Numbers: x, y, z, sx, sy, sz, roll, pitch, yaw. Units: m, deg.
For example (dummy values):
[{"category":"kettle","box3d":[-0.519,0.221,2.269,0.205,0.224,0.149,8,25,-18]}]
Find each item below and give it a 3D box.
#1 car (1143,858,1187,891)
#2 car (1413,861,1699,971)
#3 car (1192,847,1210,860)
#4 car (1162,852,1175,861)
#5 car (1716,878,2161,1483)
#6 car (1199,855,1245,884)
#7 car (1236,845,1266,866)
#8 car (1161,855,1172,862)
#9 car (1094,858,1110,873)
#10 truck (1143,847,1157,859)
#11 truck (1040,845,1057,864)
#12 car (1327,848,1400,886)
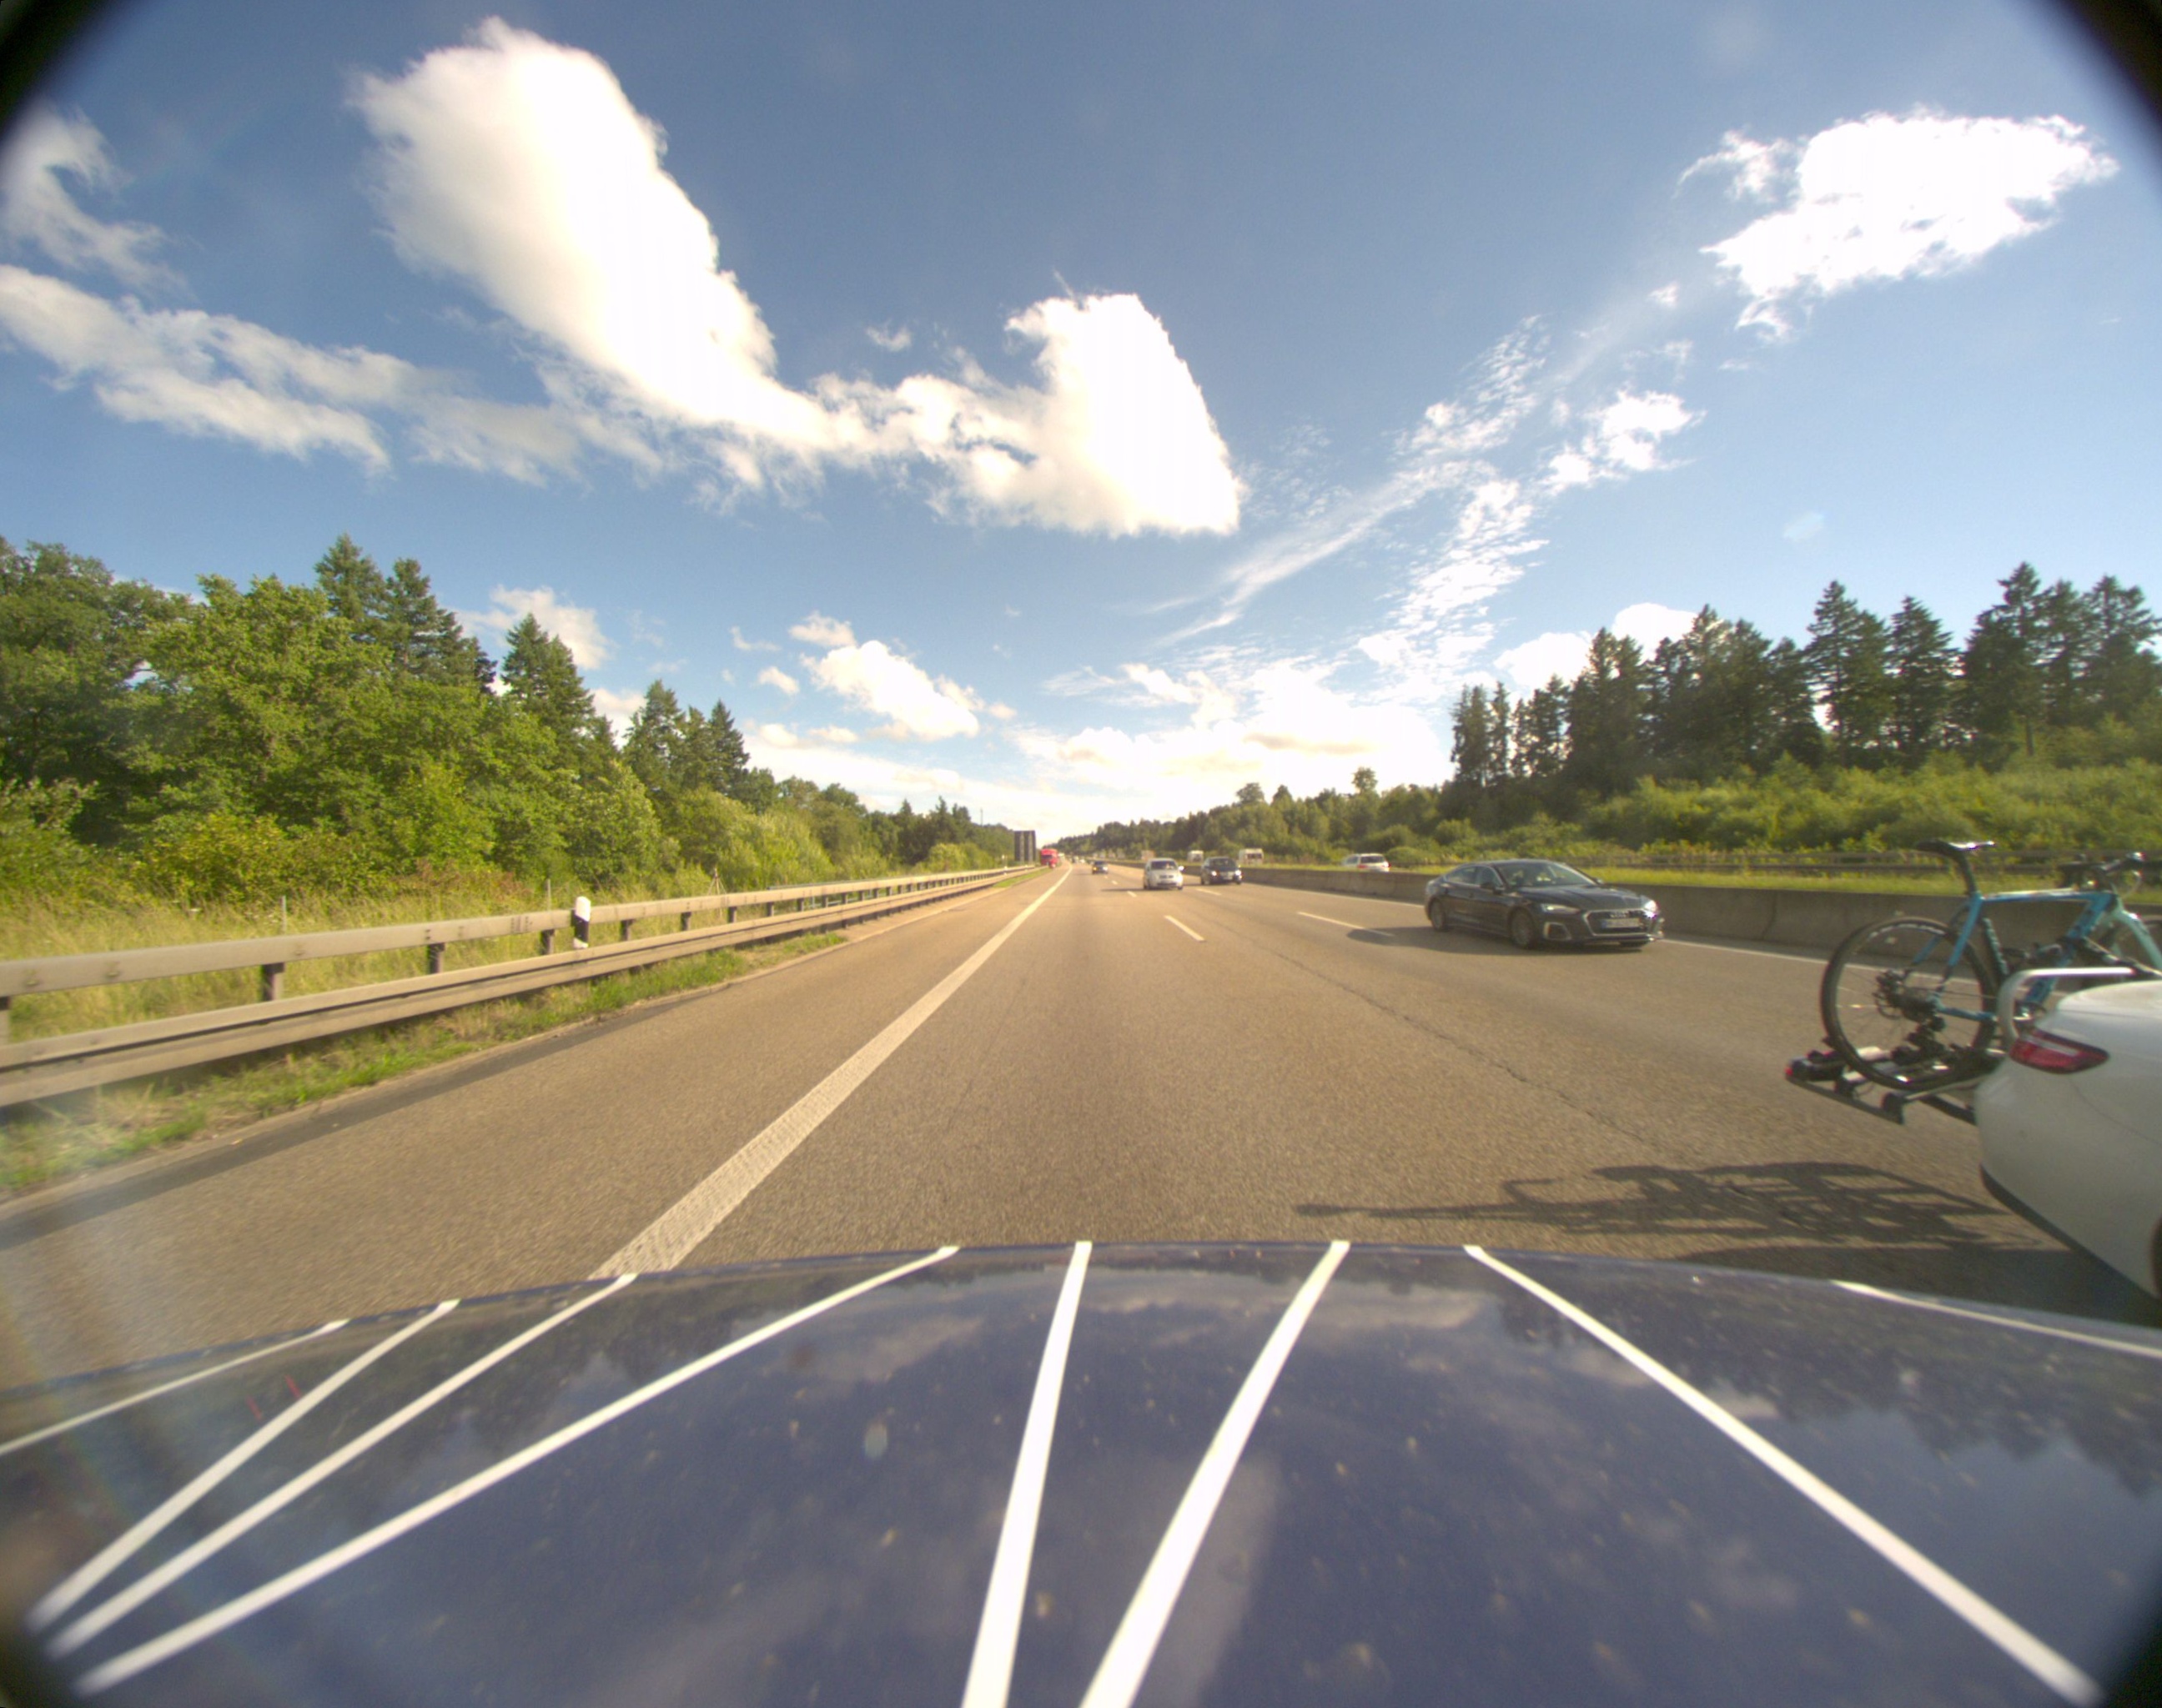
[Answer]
[{"category":"car","box3d":[4.233,0.994,38.875,1.840,1.508,4.333,-2,0,1]},{"category":"car","box3d":[7.564,0.870,12.839,1.860,1.422,4.841,-2,0,1]},{"category":"car","box3d":[24.017,-0.041,152.570,2.550,2.461,5.845,-4,0,1]},{"category":"car","box3d":[19.493,0.536,169.913,2.324,2.024,5.031,-2,0,1]},{"category":"car","box3d":[3.810,0.870,0.491,2.065,1.490,5.736,-2,0,1]},{"category":"car","box3d":[7.970,0.853,43.397,1.840,1.508,4.333,-2,0,1]},{"category":"car","box3d":[19.514,0.146,87.330,2.102,2.262,5.446,-4,0,1]},{"category":"car","box3d":[16.674,0.850,148.111,1.824,1.412,4.000,-2,0,1]},{"category":"car","box3d":[2.325,1.307,86.081,1.742,1.608,4.083,-2,0,1]},{"category":"truck","box3d":[22.732,-0.359,250.609,3.323,3.880,11.740,-2,0,1]},{"category":"truck","box3d":[-6.826,0.116,159.992,2.880,3.870,8.959,-2,0,1]},{"category":"car","box3d":[15.906,0.680,43.064,2.102,1.914,5.284,-4,0,1]}]
